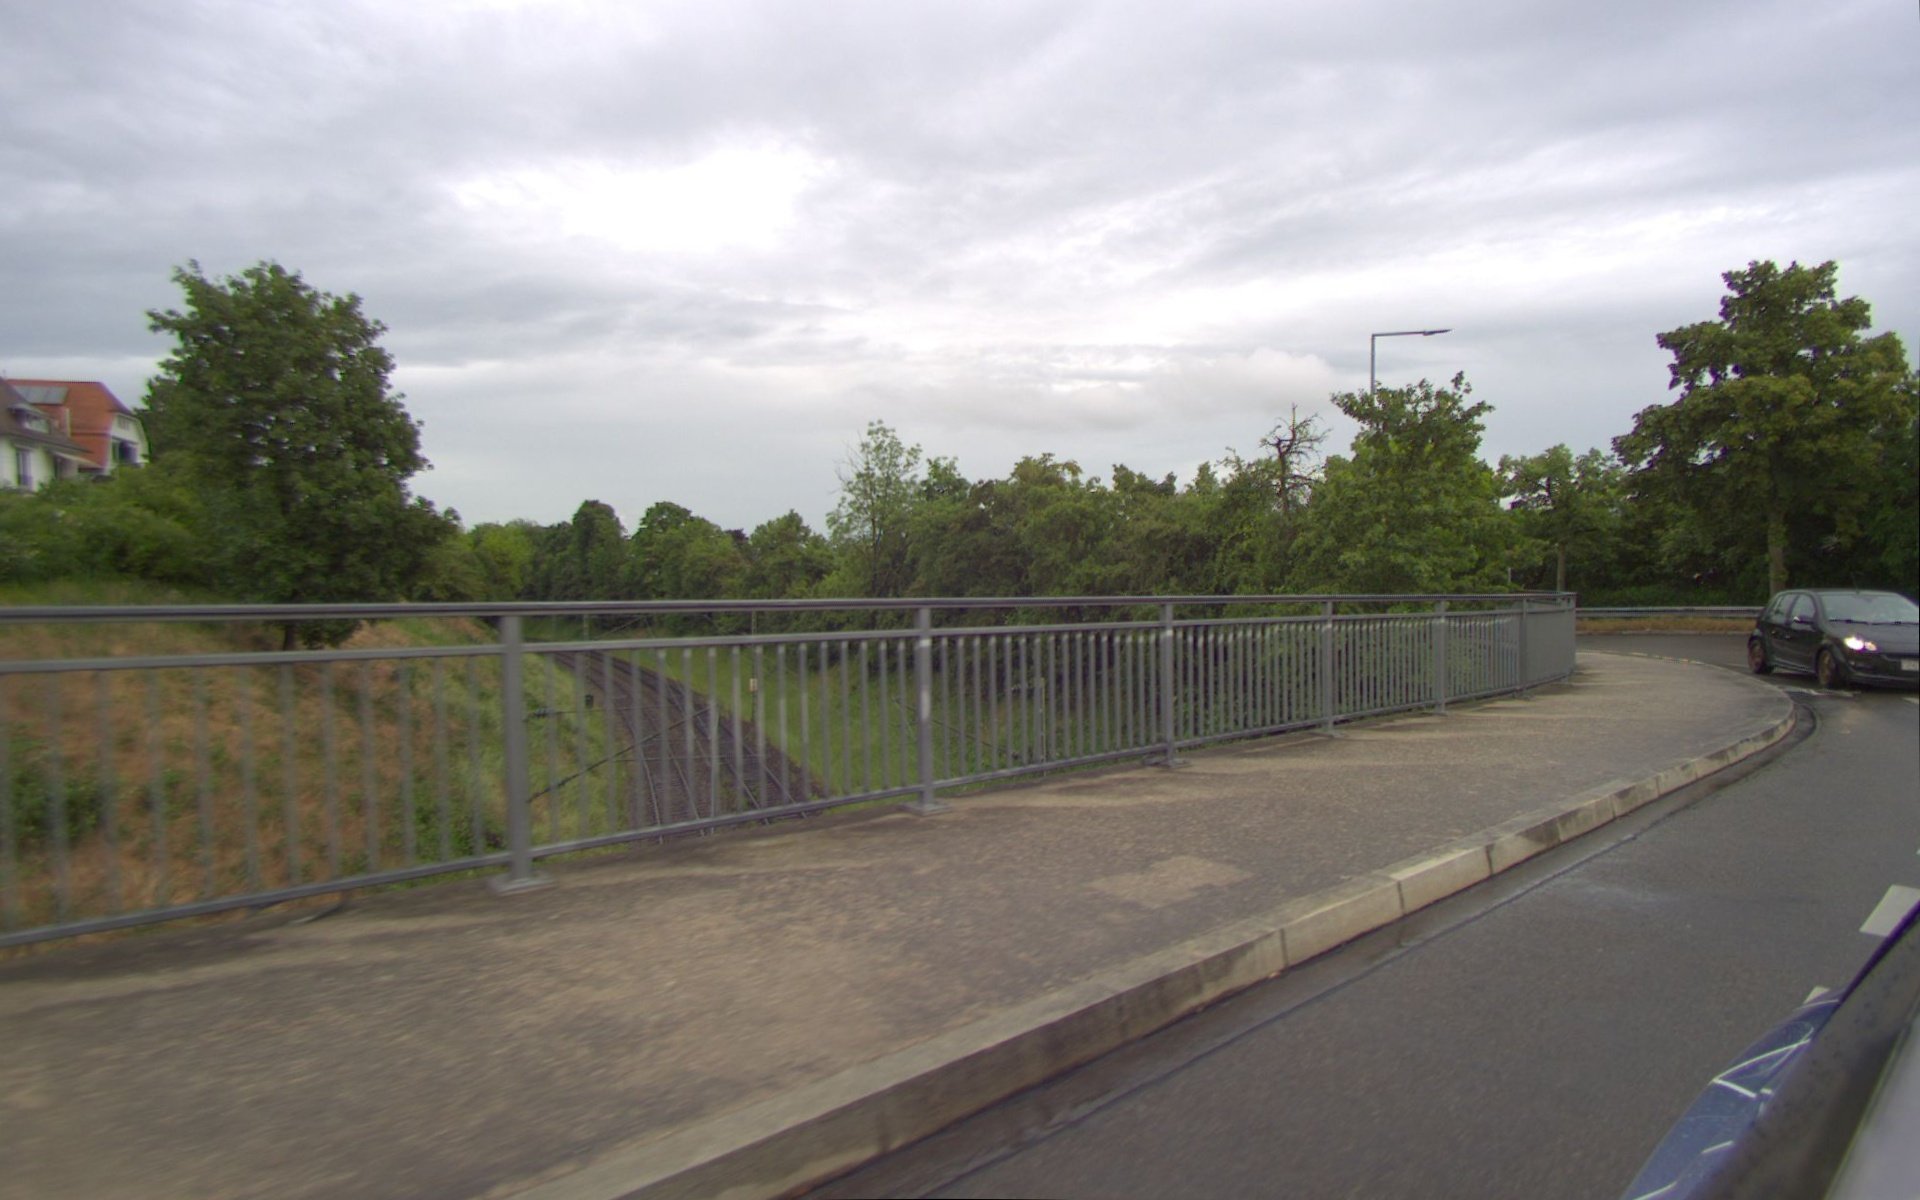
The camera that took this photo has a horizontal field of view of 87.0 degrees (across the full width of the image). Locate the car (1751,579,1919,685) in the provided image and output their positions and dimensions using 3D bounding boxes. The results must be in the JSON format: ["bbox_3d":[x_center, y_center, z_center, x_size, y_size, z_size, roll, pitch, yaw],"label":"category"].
[{"bbox_3d":[13.912,0.406,15.530,1.660,1.430,3.615,0,1,19],"label":"car"}]
